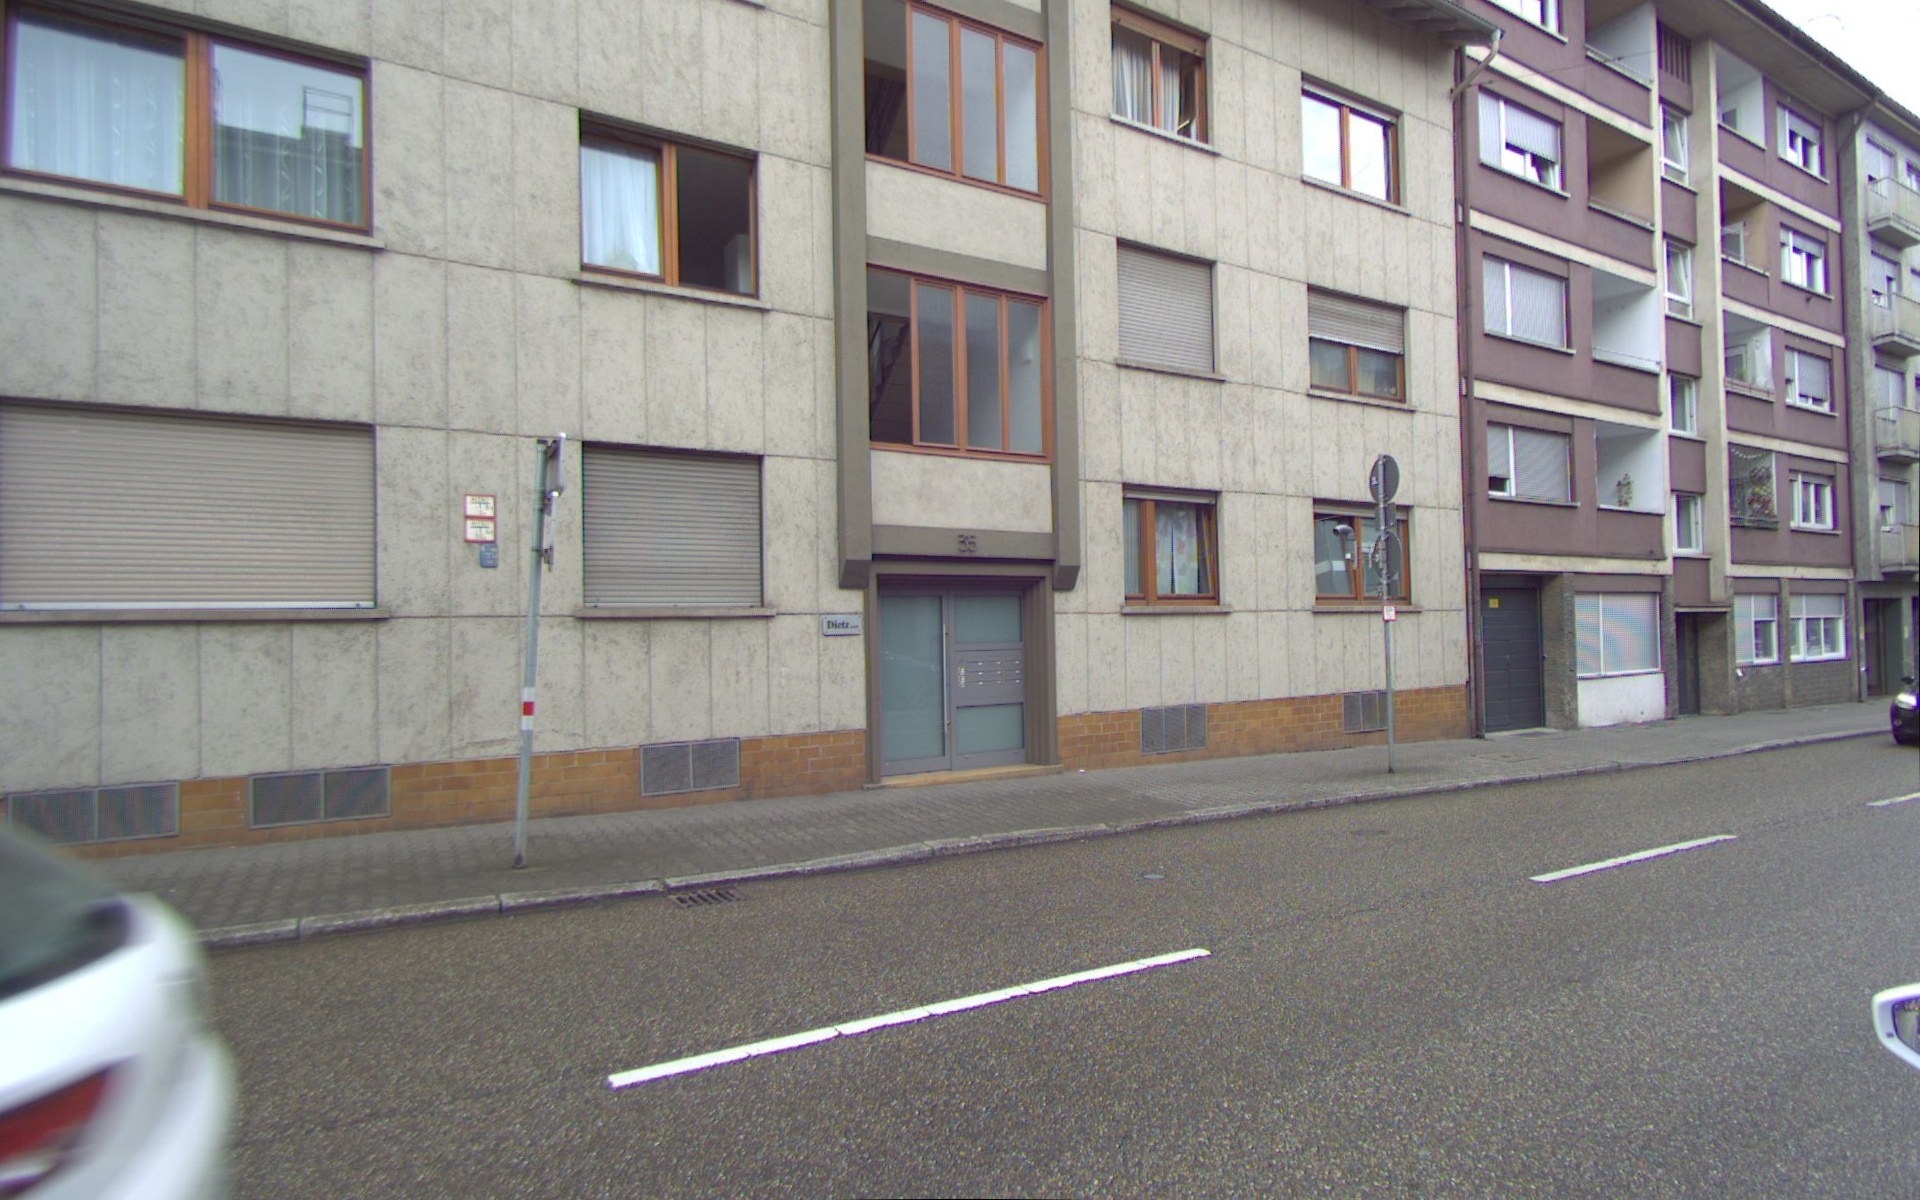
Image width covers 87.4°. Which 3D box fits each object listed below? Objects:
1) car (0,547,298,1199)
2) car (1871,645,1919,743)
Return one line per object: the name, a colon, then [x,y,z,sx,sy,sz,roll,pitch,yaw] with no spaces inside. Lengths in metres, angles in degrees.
car: [-3.014,0.722,0.817,4.007,1.559,1.736,2,-4,-31]
car: [16.687,1.448,16.244,4.325,1.492,1.714,1,-4,-32]
